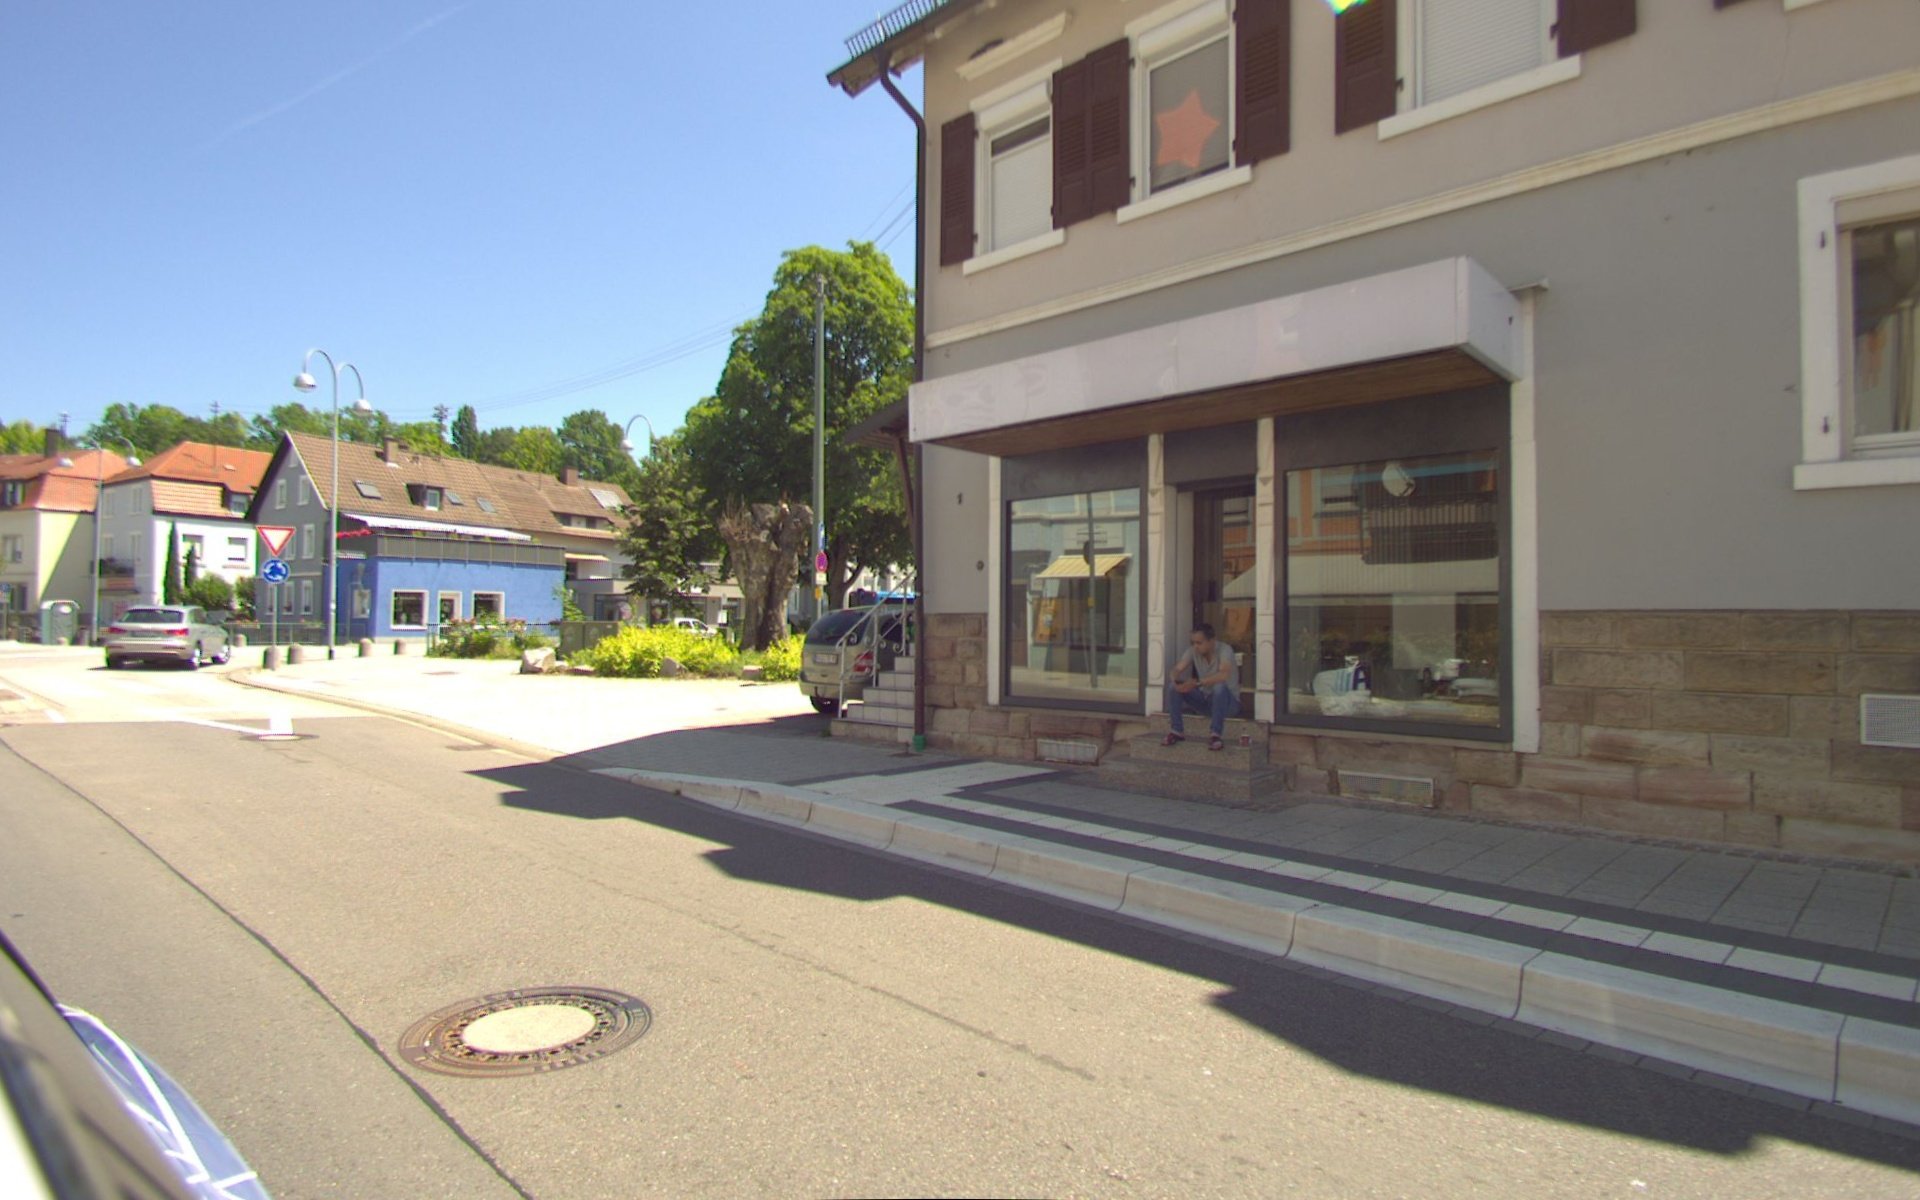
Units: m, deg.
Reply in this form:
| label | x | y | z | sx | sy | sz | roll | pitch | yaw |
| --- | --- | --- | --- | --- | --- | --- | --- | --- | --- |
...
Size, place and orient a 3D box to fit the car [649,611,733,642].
| label | x | y | z | sx | sy | sz | roll | pitch | yaw |
| --- | --- | --- | --- | --- | --- | --- | --- | --- | --- |
| car | -12.882 | 1.273 | 48.403 | 3.654 | 1.423 | 1.555 | 1 | -2 | -25 |

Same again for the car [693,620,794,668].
| label | x | y | z | sx | sy | sz | roll | pitch | yaw |
| --- | --- | --- | --- | --- | --- | --- | --- | --- | --- |
| car | -7.338 | 1.483 | 34.288 | 3.045 | 1.564 | 1.619 | -1 | -2 | 28 |

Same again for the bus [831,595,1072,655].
| label | x | y | z | sx | sy | sz | roll | pitch | yaw |
| --- | --- | --- | --- | --- | --- | --- | --- | --- | --- |
| bus | 0.129 | 1.594 | 62.077 | 3.718 | 3.195 | 17.816 | 1 | -1 | 42 |

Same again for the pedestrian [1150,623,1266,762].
| label | x | y | z | sx | sy | sz | roll | pitch | yaw |
| --- | --- | --- | --- | --- | --- | --- | --- | --- | --- |
| pedestrian | 2.019 | 0.720 | 8.247 | 0.699 | 1.062 | 0.663 | -1 | -2 | 39 |

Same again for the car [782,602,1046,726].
| label | x | y | z | sx | sy | sz | roll | pitch | yaw |
| --- | --- | --- | --- | --- | --- | --- | --- | --- | --- |
| car | -0.600 | 0.902 | 15.557 | 1.758 | 1.652 | 3.942 | -2 | -2 | 43 |

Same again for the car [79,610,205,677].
| label | x | y | z | sx | sy | sz | roll | pitch | yaw |
| --- | --- | --- | --- | --- | --- | --- | --- | --- | --- |
| car | -20.564 | 1.072 | 25.398 | 4.081 | 1.555 | 1.658 | -1 | -4 | 40 |
